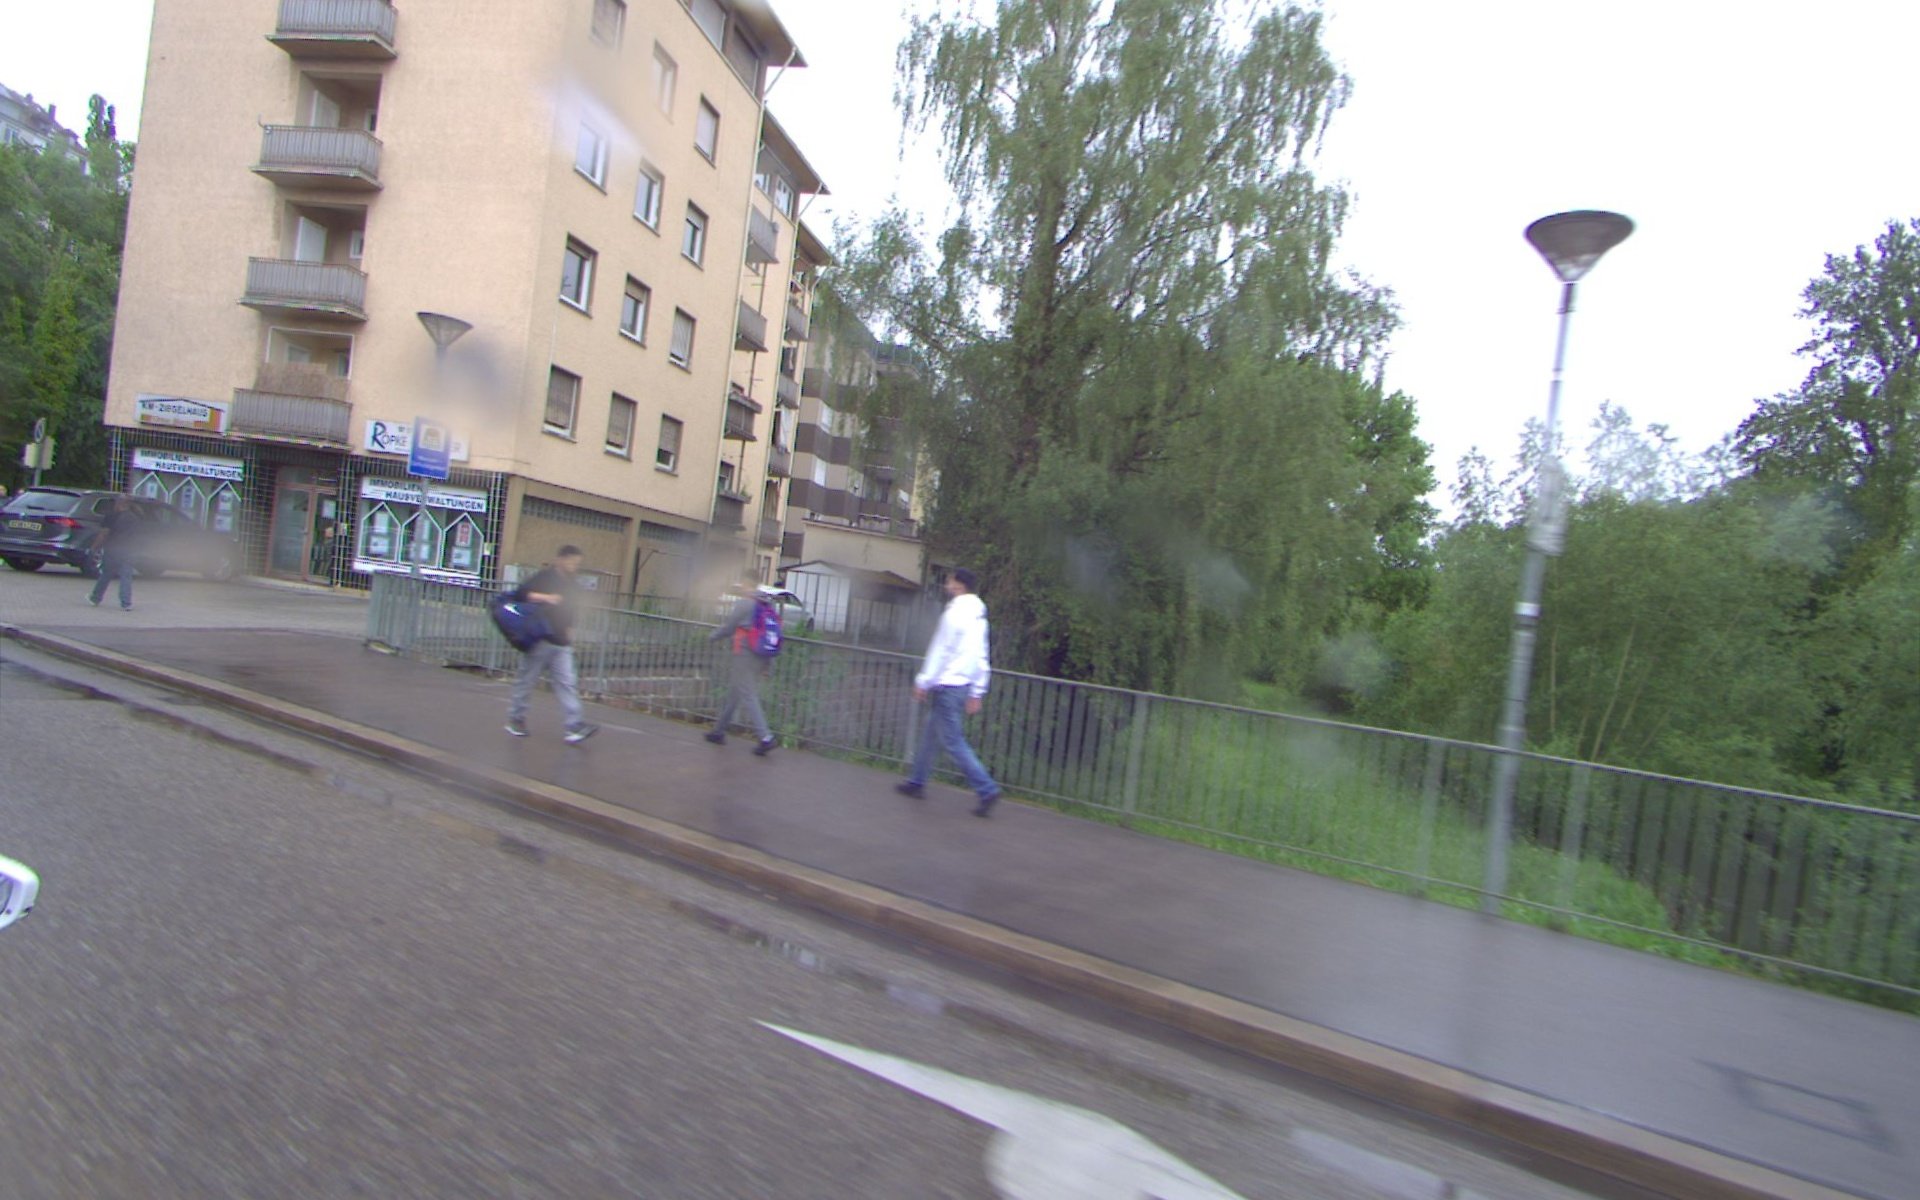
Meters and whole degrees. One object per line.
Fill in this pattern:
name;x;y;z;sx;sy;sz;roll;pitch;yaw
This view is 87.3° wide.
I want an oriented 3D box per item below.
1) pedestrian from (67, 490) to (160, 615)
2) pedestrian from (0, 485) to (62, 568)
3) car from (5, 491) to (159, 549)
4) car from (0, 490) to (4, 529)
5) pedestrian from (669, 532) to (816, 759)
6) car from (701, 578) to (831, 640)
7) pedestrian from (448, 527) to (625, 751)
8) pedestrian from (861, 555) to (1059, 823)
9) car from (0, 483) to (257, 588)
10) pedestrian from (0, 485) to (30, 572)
pedestrian;-12.335;-0.676;14.664;0.768;1.699;0.761;8;3;31
pedestrian;-19.167;-1.494;20.622;0.751;1.596;0.778;6;3;-14
car;-34.298;-3.092;39.444;1.775;1.580;4.157;7;-1;17
car;-38.753;-3.667;37.305;1.848;1.521;4.337;7;1;20
pedestrian;-1.905;0.390;8.835;0.768;1.832;0.761;8;2;31
car;-5.547;0.311;29.416;1.783;1.393;4.455;10;1;15
pedestrian;-3.413;0.301;8.133;0.825;1.640;0.863;7;2;31
pedestrian;0.006;0.631;7.531;1.043;1.774;0.780;7;1;31
car;-16.693;-1.204;20.075;1.847;1.670;4.381;6;1;6
pedestrian;-18.531;-1.403;19.366;0.782;1.622;0.658;7;3;29
